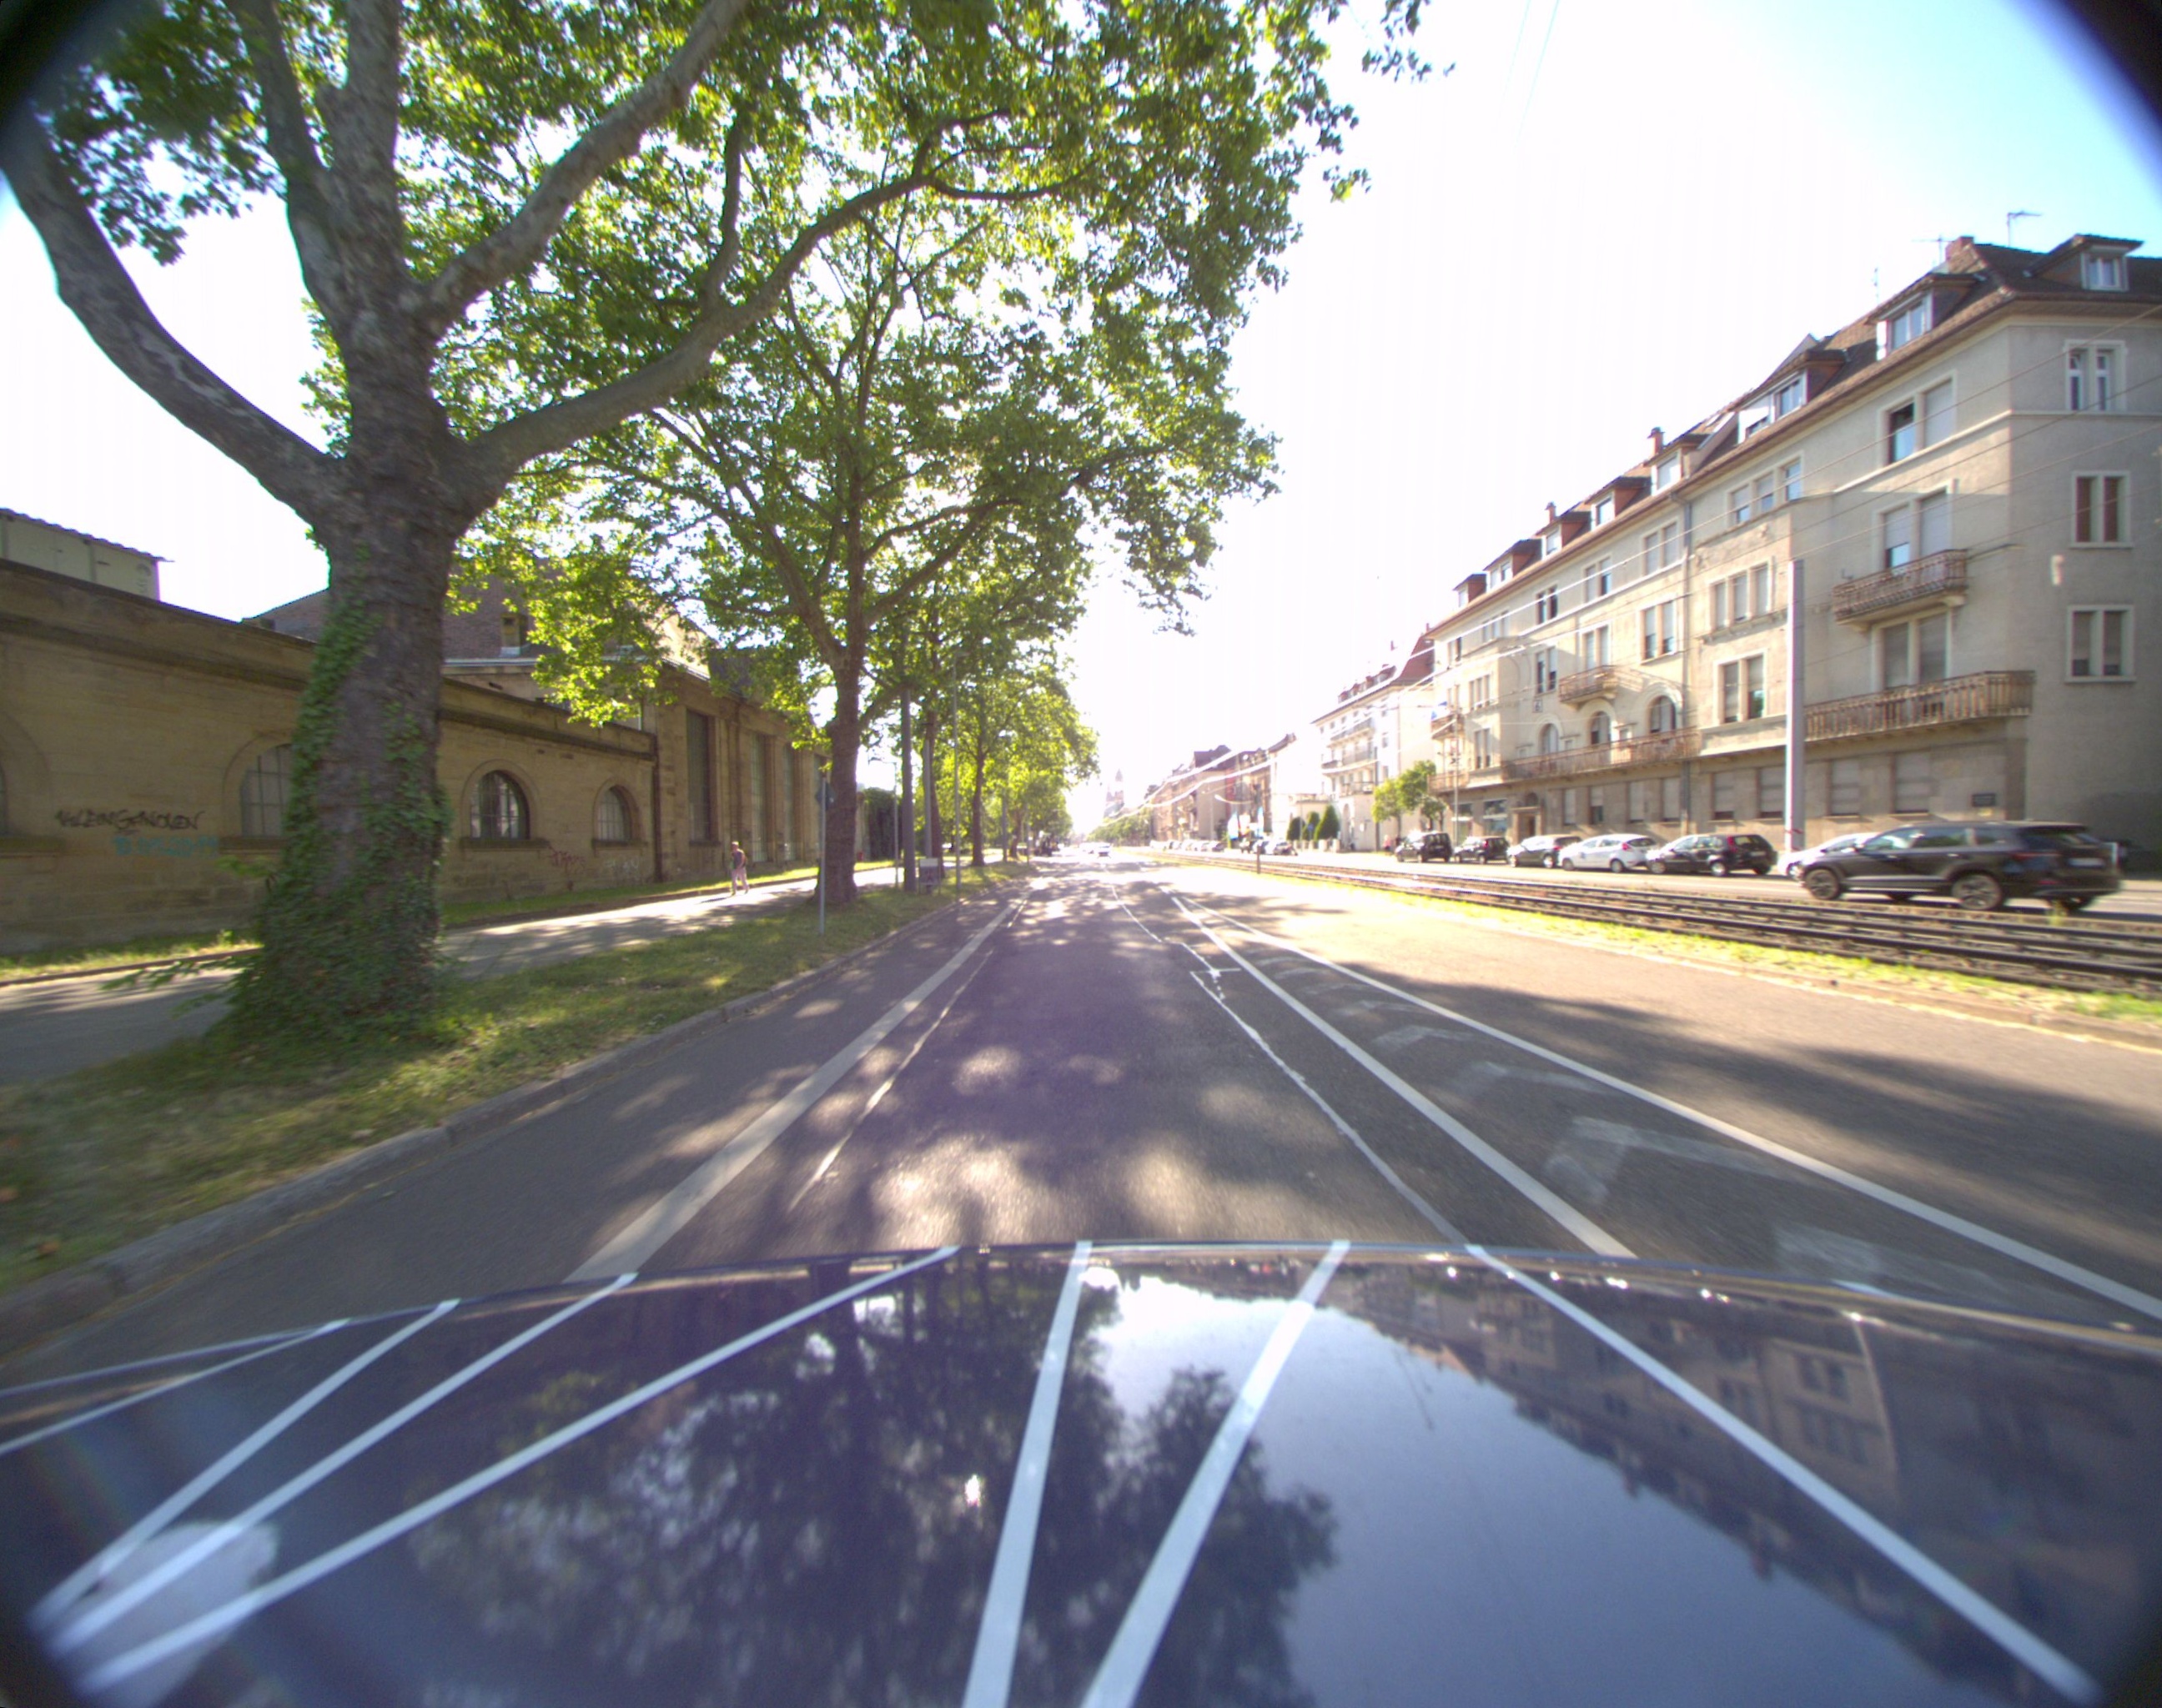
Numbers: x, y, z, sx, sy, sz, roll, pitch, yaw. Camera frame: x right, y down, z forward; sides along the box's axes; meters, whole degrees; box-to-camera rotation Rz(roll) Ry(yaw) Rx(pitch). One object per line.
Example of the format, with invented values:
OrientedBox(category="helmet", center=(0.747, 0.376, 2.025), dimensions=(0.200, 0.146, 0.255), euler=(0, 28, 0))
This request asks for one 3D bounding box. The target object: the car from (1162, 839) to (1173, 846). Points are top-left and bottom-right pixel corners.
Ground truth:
OrientedBox(category="car", center=(18.294, -2.519, 160.779), dimensions=(1.664, 1.437, 3.979), euler=(-3, 1, -1))

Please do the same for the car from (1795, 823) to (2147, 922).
OrientedBox(category="car", center=(16.370, 0.266, 14.385), dimensions=(1.640, 1.592, 4.157), euler=(0, 1, -3))

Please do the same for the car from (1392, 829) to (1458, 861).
OrientedBox(category="car", center=(21.223, -0.559, 47.061), dimensions=(1.867, 1.776, 4.400), euler=(-3, 1, -2))

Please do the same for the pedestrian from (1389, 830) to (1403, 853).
OrientedBox(category="pedestrian", center=(23.972, -0.965, 57.821), dimensions=(0.855, 1.687, 0.592), euler=(-1, 3, 38))

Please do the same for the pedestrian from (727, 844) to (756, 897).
OrientedBox(category="pedestrian", center=(-10.863, 0.515, 24.326), dimensions=(0.609, 1.672, 0.636), euler=(3, 1, -3))

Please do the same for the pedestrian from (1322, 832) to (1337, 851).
OrientedBox(category="pedestrian", center=(23.745, -1.196, 72.574), dimensions=(0.995, 1.768, 0.934), euler=(-4, 3, -15))

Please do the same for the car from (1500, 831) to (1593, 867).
OrientedBox(category="car", center=(21.566, -0.244, 35.418), dimensions=(1.639, 1.460, 4.157), euler=(-4, 1, -2))

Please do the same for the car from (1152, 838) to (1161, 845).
OrientedBox(category="car", center=(18.412, -3.006, 186.450), dimensions=(1.798, 1.634, 4.629), euler=(-3, 1, 1))

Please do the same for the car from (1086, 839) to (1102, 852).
OrientedBox(category="car", center=(1.680, -1.090, 97.825), dimensions=(1.799, 1.502, 3.999), euler=(-3, 1, -1))

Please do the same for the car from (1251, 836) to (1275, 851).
OrientedBox(category="car", center=(20.127, -1.220, 84.161), dimensions=(1.639, 1.499, 4.157), euler=(-3, 2, 1))

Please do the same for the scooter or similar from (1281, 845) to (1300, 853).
OrientedBox(category="scooter or similar", center=(19.816, -0.493, 71.943), dimensions=(1.565, 0.766, 0.809), euler=(0, 1, 30))

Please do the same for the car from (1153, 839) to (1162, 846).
OrientedBox(category="car", center=(18.357, -2.784, 181.911), dimensions=(1.664, 1.437, 3.764), euler=(-3, 1, -1))

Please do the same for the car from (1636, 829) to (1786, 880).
OrientedBox(category="car", center=(21.782, -0.015, 26.498), dimensions=(1.639, 1.460, 4.157), euler=(-7, 1, -1))

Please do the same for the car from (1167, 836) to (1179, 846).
OrientedBox(category="car", center=(18.800, -2.661, 155.507), dimensions=(1.664, 1.797, 4.726), euler=(-3, 1, -3))

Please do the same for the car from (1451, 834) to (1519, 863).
OrientedBox(category="car", center=(21.703, -0.312, 40.964), dimensions=(1.632, 1.383, 3.507), euler=(-5, 1, -2))

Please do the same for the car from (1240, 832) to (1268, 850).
OrientedBox(category="car", center=(20.513, -1.530, 90.447), dimensions=(2.082, 1.999, 5.590), euler=(-3, 1, 1))

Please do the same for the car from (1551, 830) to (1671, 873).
OrientedBox(category="car", center=(21.293, -0.118, 30.720), dimensions=(1.640, 1.460, 3.980), euler=(-7, 1, -7))

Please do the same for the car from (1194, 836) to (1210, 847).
OrientedBox(category="car", center=(19.928, -2.095, 124.984), dimensions=(1.925, 1.552, 4.840), euler=(-5, 2, 2))

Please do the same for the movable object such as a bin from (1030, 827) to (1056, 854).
OrientedBox(category="movable object such as a bin", center=(-4.588, -1.647, 93.400), dimensions=(2.751, 3.127, 7.217), euler=(2, 1, 0))

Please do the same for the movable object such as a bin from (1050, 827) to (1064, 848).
OrientedBox(category="movable object such as a bin", center=(-5.436, -3.731, 172.746), dimensions=(2.922, 4.584, 7.594), euler=(2, 1, -3))

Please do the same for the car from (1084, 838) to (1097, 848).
OrientedBox(category="car", center=(1.522, -1.748, 122.833), dimensions=(1.799, 1.502, 3.999), euler=(-3, 1, -1))

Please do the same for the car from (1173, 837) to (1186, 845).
OrientedBox(category="car", center=(19.326, -2.503, 149.179), dimensions=(1.925, 1.530, 4.626), euler=(-2, 1, -1))

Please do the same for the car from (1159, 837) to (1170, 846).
OrientedBox(category="car", center=(18.785, -2.761, 170.370), dimensions=(1.799, 1.797, 3.998), euler=(-3, 1, -3))

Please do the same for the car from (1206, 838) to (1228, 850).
OrientedBox(category="car", center=(19.696, -1.437, 109.949), dimensions=(1.926, 1.452, 4.840), euler=(-6, 1, -3))

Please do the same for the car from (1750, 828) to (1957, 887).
OrientedBox(category="car", center=(21.880, 0.065, 21.793), dimensions=(1.639, 1.460, 4.158), euler=(-2, 1, -1))

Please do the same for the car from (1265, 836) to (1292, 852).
OrientedBox(category="car", center=(20.452, -1.028, 78.790), dimensions=(1.799, 1.502, 3.998), euler=(-3, 2, 0))

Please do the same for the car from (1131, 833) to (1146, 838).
OrientedBox(category="car", center=(17.469, -5.633, 231.613), dimensions=(3.991, 1.502, 1.802), euler=(-2, 2, 20))

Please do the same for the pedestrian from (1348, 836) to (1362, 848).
OrientedBox(category="pedestrian", center=(26.301, -1.158, 72.858), dimensions=(0.879, 1.181, 0.894), euler=(-3, 2, -9))

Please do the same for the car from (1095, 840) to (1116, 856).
OrientedBox(category="car", center=(2.449, -0.622, 76.168), dimensions=(1.799, 1.502, 3.999), euler=(-3, 1, -1))

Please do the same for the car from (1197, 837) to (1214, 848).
OrientedBox(category="car", center=(19.514, -1.791, 119.265), dimensions=(1.925, 1.685, 4.841), euler=(-3, 1, 1))

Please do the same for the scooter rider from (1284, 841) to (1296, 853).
OrientedBox(category="scooter rider", center=(19.776, -0.682, 71.956), dimensions=(0.976, 1.083, 0.809), euler=(0, 2, 30))

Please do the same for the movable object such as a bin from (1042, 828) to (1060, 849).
OrientedBox(category="movable object such as a bin", center=(-6.027, -3.148, 152.823), dimensions=(3.348, 3.954, 7.594), euler=(2, 1, -3))

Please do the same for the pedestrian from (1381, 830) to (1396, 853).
OrientedBox(category="pedestrian", center=(23.289, -0.917, 57.506), dimensions=(0.855, 1.687, 0.592), euler=(-1, 3, 38))
